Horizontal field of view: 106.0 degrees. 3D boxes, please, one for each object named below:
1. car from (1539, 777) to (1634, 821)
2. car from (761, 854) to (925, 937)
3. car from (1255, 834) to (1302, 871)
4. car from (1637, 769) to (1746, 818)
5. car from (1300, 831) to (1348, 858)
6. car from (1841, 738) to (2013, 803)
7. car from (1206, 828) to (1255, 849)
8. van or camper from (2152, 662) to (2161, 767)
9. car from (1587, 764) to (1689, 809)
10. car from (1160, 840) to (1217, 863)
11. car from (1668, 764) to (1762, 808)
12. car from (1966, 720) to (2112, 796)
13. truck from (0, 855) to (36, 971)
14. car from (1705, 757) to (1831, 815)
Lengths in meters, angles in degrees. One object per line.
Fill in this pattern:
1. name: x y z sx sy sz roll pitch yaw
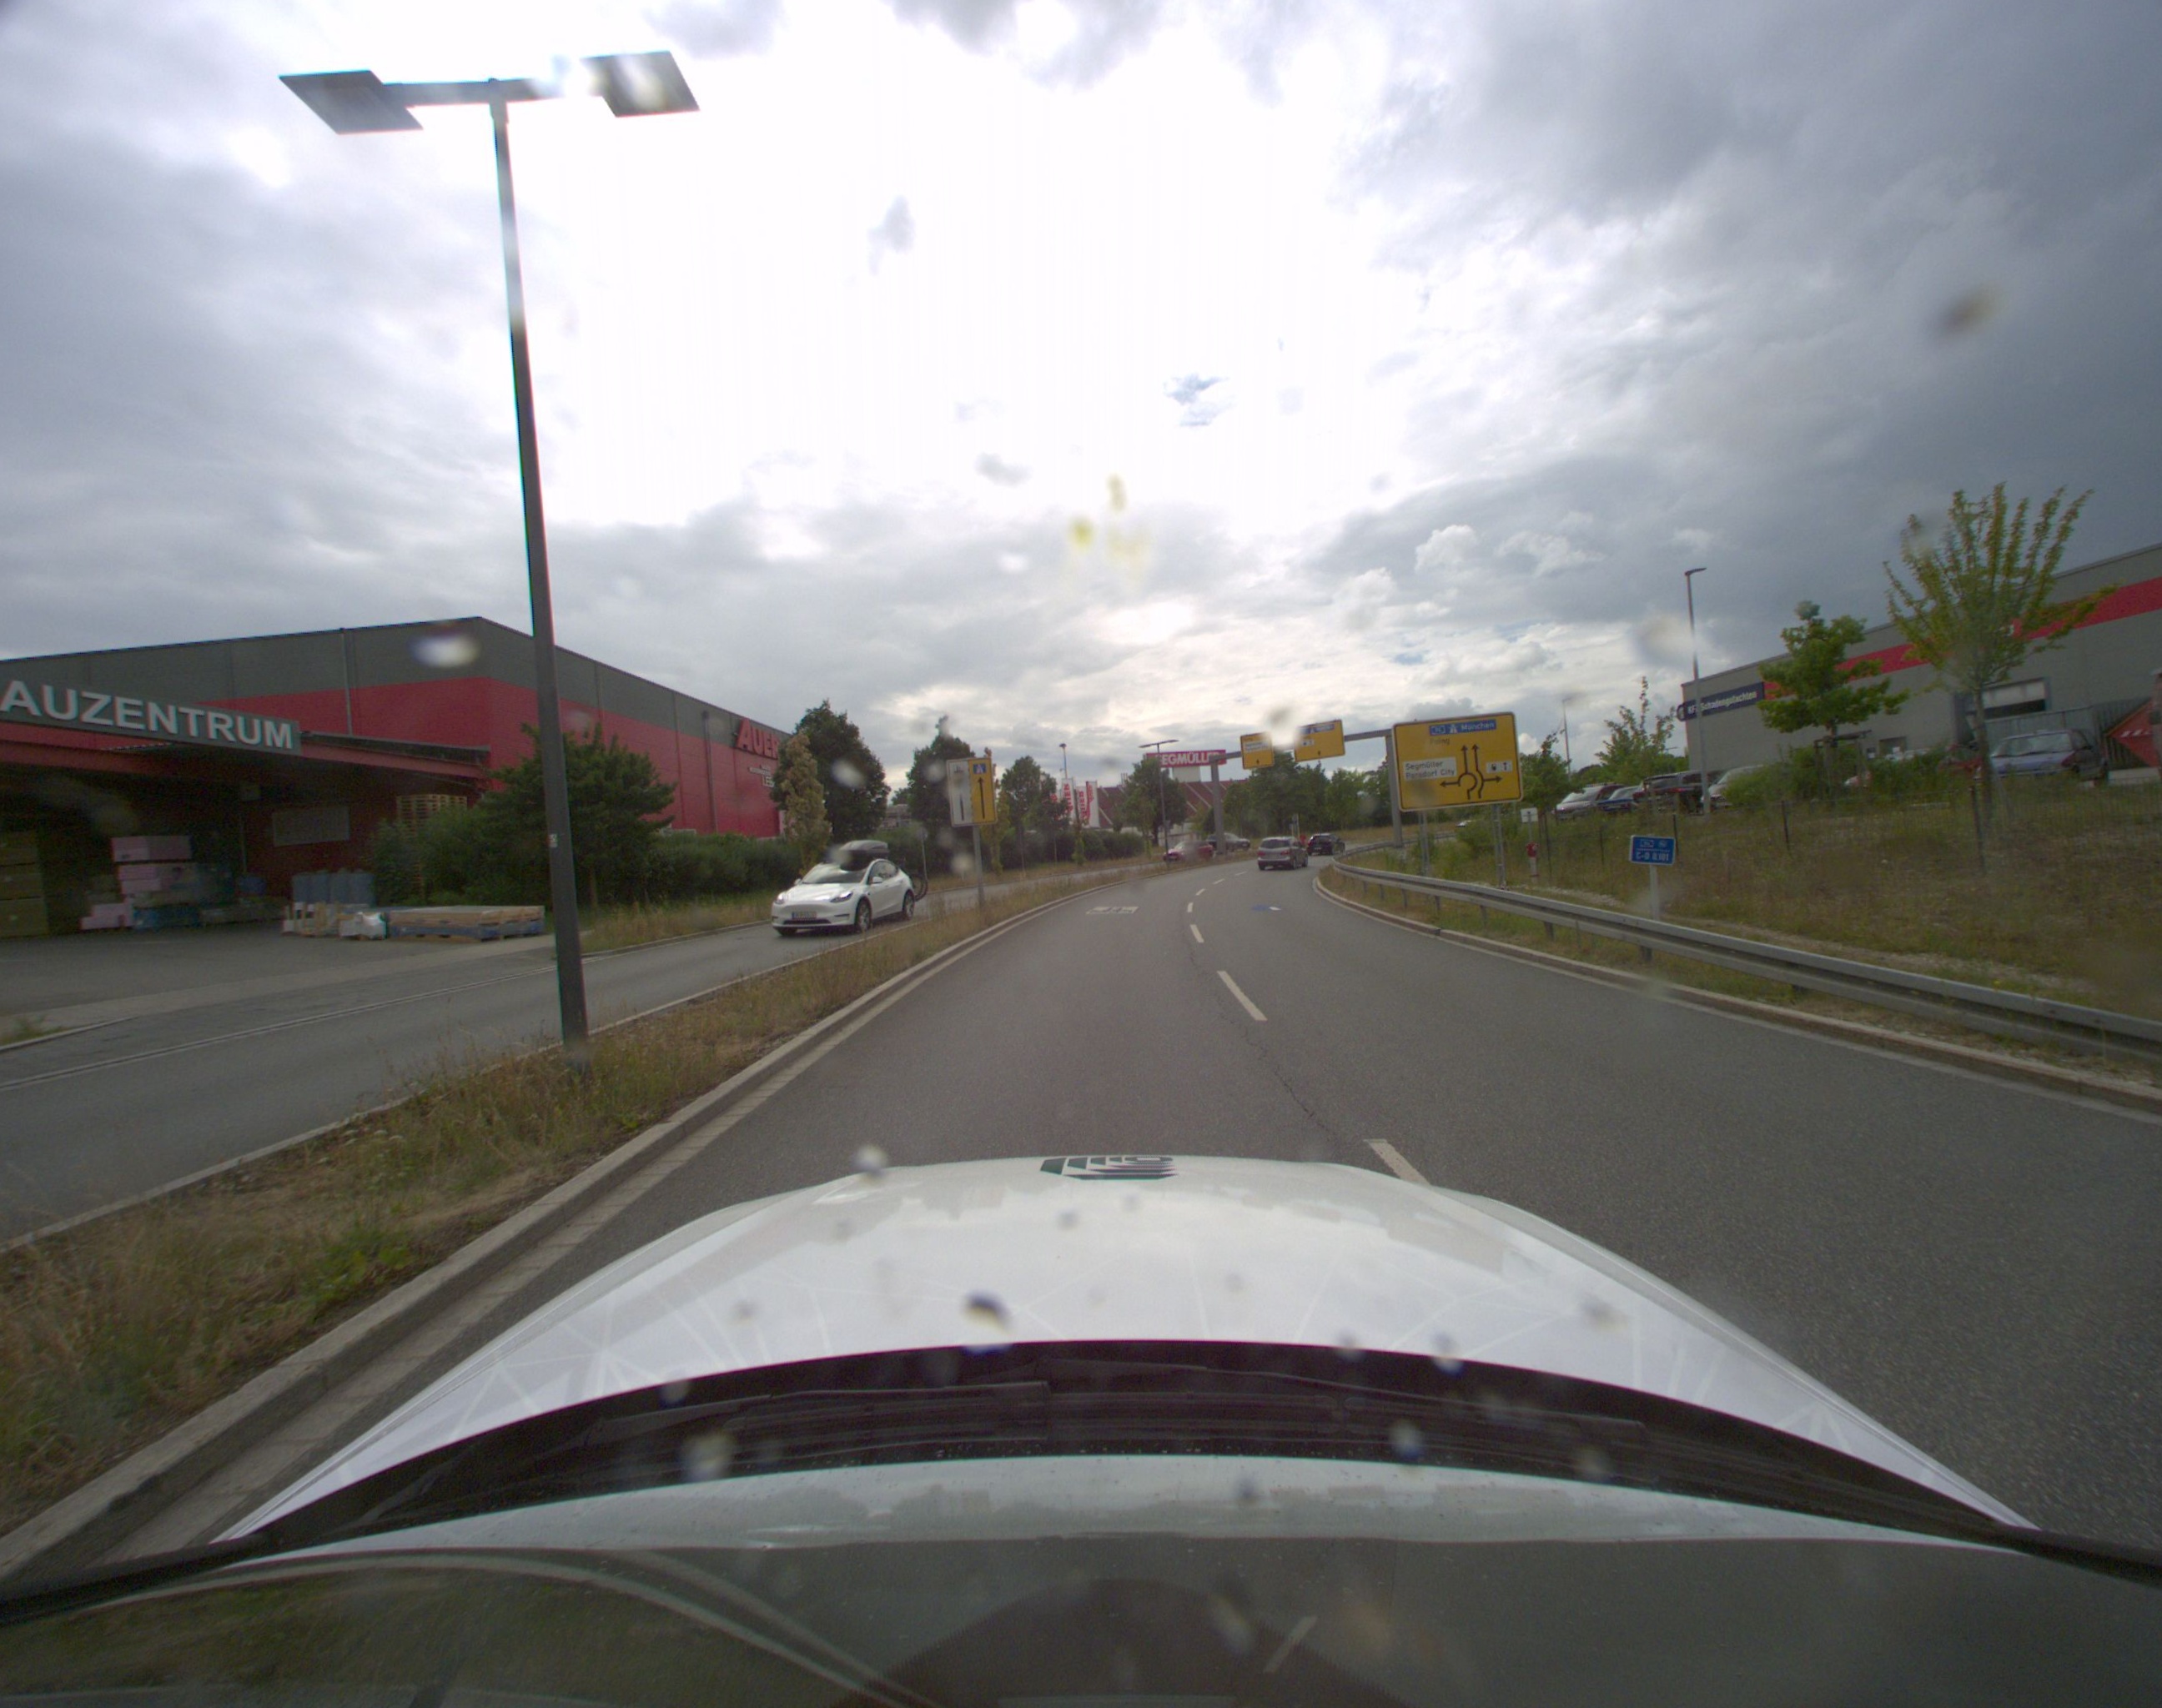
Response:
1. car: 22.373 -2.408 36.042 4.182 1.782 1.787 -2 1 -30
2. car: -5.393 0.866 19.203 1.898 1.626 4.648 -1 1 8
3. car: 9.933 -0.091 40.700 1.752 1.616 3.941 -4 -1 20
4. car: 22.430 -2.231 29.913 3.738 1.653 1.507 -2 1 -23
5. car: 16.411 -0.649 54.937 1.851 1.605 3.759 -4 -1 36
6. car: 22.582 -2.231 21.723 4.596 1.400 1.690 -4 -1 -25
7. car: 13.063 -1.343 71.497 1.880 1.549 4.213 -4 1 -31
8. van or camper: 22.626 -2.758 15.851 4.695 1.997 1.794 -4 -1 -34
9. car: 22.811 -2.746 33.348 3.865 1.653 1.719 -2 1 -25
10. car: 7.414 -0.207 55.794 1.774 1.447 5.004 -1 1 34
11. car: 33.723 -3.569 43.466 1.694 1.811 3.970 -7 0 0
12. car: 21.987 -2.209 18.672 3.317 1.381 1.486 -7 0 -29
13. truck: -24.487 1.255 15.229 2.025 2.487 5.912 2 0 3
14. car: 22.922 -2.269 27.163 3.801 1.518 1.678 -7 1 -25
